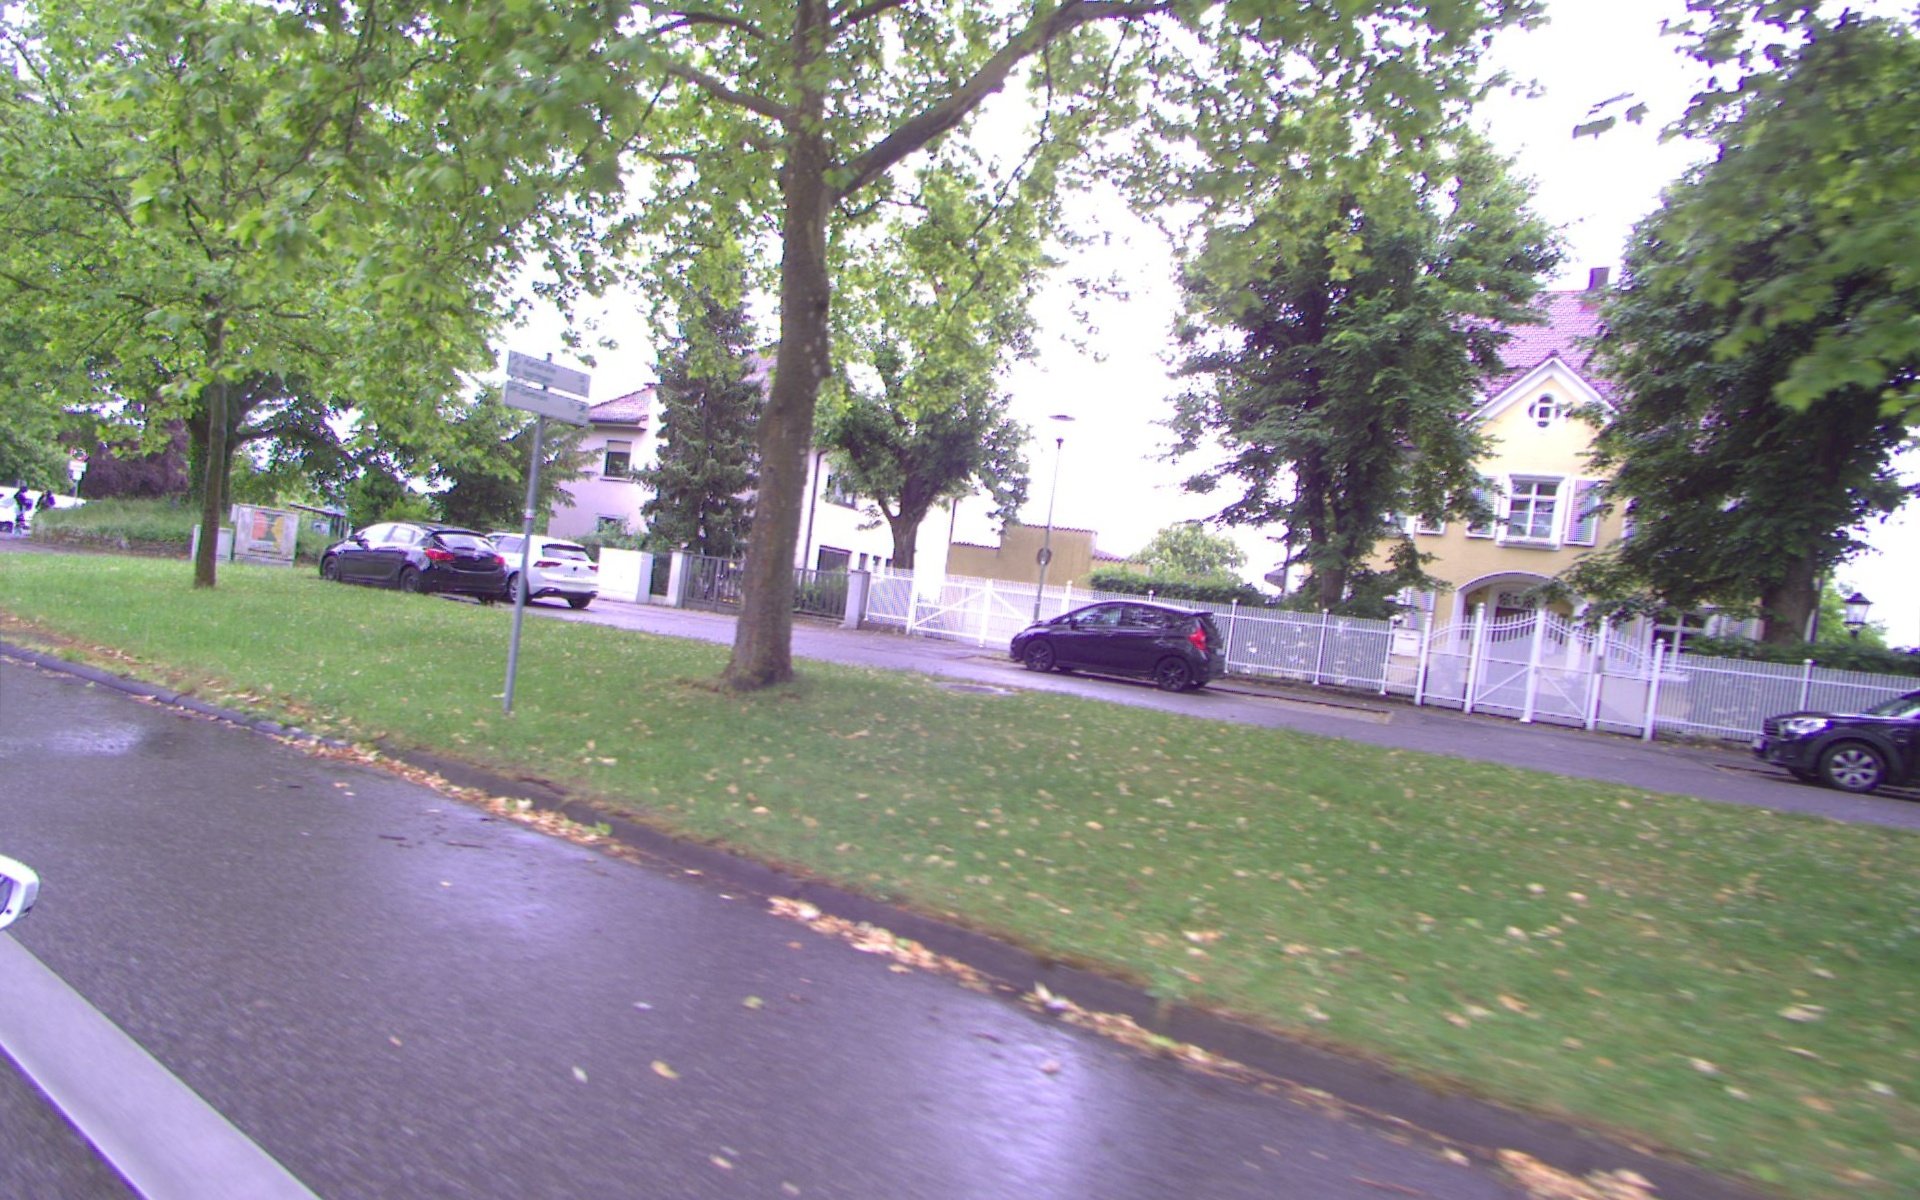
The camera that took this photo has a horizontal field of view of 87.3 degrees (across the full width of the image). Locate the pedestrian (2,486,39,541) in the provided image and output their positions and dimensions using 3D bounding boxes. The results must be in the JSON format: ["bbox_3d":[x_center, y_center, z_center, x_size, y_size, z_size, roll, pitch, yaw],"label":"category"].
[{"bbox_3d":[-32.027,-2.941,34.307,0.624,1.733,0.530,7,-1,17],"label":"pedestrian"}]

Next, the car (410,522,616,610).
[{"bbox_3d":[-9.932,-0.760,22.281,4.350,1.490,1.848,6,1,29],"label":"car"}]

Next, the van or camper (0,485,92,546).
[{"bbox_3d":[-46.288,-4.228,49.612,2.162,2.405,5.668,7,-2,-5],"label":"van or camper"}]

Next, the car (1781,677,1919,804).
[{"bbox_3d":[13.640,2.036,13.143,4.052,1.488,1.999,6,-2,27],"label":"car"}]

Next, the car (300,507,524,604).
[{"bbox_3d":[-10.947,-0.899,20.026,4.520,1.490,1.766,6,1,30],"label":"car"}]

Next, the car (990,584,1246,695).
[{"bbox_3d":[2.940,0.736,18.821,4.280,1.488,1.766,6,-2,27],"label":"car"}]

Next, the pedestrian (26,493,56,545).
[{"bbox_3d":[-32.206,-2.839,35.261,0.632,1.733,0.523,8,-1,-43],"label":"pedestrian"}]
